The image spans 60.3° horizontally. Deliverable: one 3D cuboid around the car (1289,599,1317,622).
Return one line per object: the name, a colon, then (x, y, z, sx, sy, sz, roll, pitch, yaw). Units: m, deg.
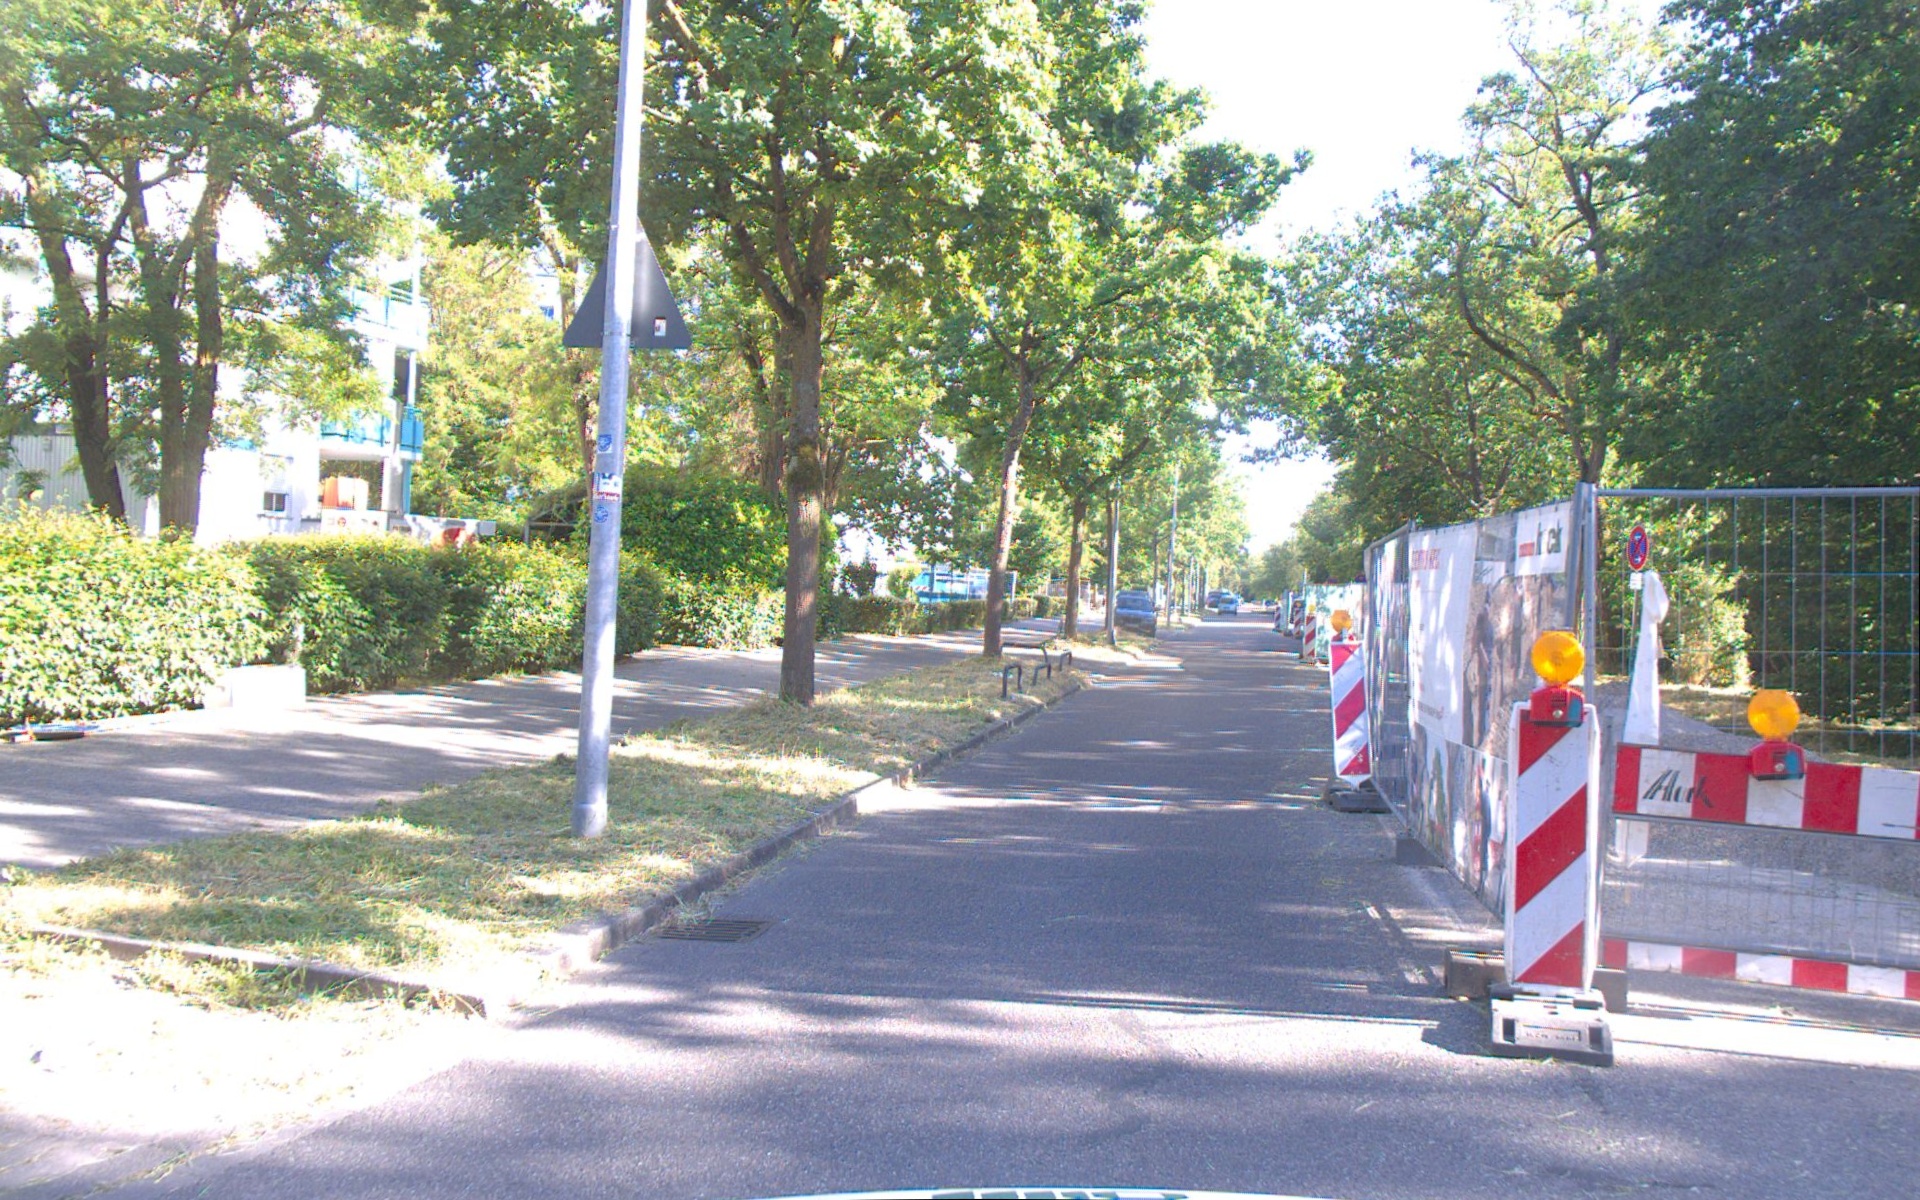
car: (23.130, 0.716, 111.621, 1.756, 1.434, 4.003, 3, 1, 11)

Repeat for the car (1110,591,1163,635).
car: (6.501, 0.459, 60.782, 1.713, 1.503, 3.839, 3, 0, 9)

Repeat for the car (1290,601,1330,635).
car: (14.634, 0.759, 69.288, 1.332, 1.325, 3.484, 4, 0, 8)

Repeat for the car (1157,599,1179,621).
car: (13.489, 0.628, 107.328, 1.332, 1.325, 3.484, 4, 0, 8)

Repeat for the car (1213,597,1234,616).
car: (23.903, 0.569, 150.176, 1.674, 1.612, 4.003, 4, 0, 6)

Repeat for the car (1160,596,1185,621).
car: (12.310, 0.524, 95.619, 1.332, 1.325, 3.484, 4, 0, 8)

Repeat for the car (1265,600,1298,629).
car: (15.973, 0.734, 82.229, 1.332, 1.325, 3.484, 4, 0, 8)

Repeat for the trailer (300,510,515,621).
trailer: (-11.257, -0.678, 34.059, 1.935, 2.078, 4.432, 2, 0, 17)
